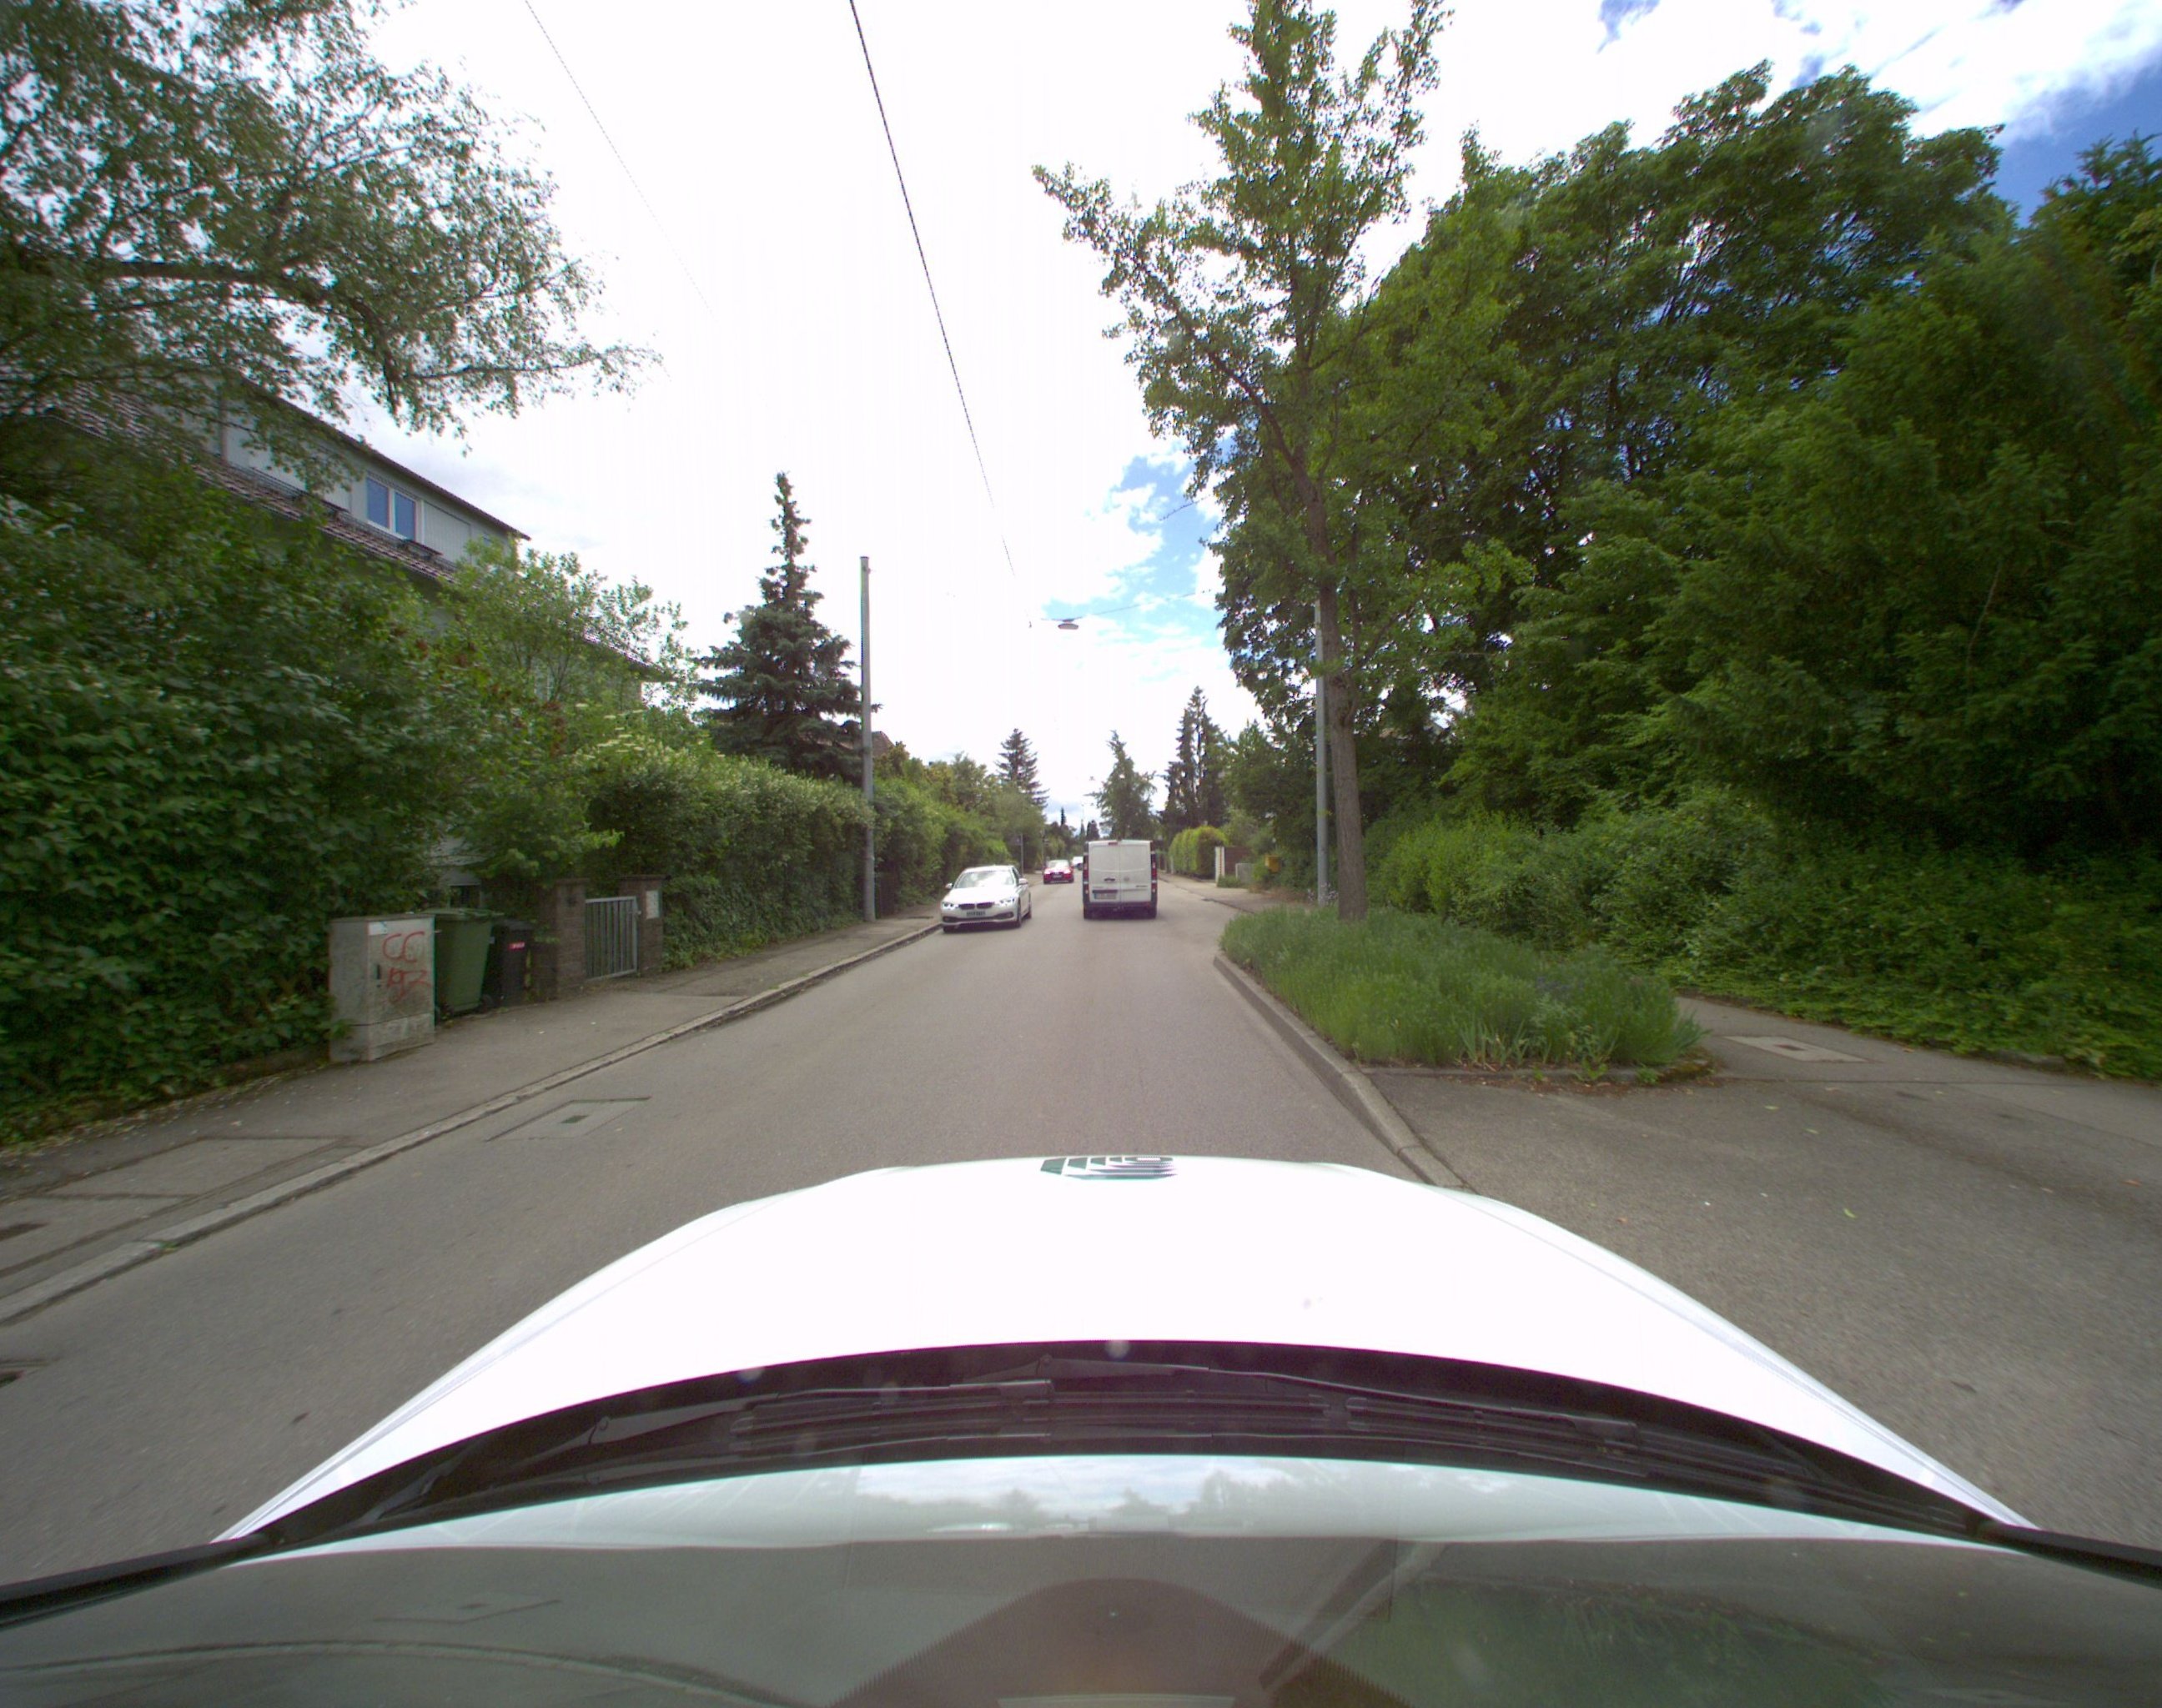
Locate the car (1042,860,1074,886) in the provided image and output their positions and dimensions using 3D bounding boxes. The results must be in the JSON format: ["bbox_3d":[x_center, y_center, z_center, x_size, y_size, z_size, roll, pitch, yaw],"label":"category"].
[{"bbox_3d":[-1.408,1.149,51.051,1.799,1.431,4.118,-4,-1,0],"label":"car"}]

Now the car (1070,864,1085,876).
[{"bbox_3d":[-0.475,2.034,104.706,1.849,1.451,4.280,-3,0,0],"label":"car"}]

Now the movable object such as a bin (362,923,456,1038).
[{"bbox_3d":[-6.057,1.122,7.357,0.377,0.951,0.512,2,-1,-2],"label":"movable object such as a bin"}]

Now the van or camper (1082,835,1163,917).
[{"bbox_3d":[1.016,0.604,21.853,1.933,1.954,4.764,0,-2,1],"label":"van or camper"}]

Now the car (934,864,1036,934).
[{"bbox_3d":[-2.226,1.012,19.982,1.799,1.431,4.302,-4,-1,1],"label":"car"}]

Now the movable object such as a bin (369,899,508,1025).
[{"bbox_3d":[-6.273,1.034,7.993,0.726,1.126,0.722,2,-1,-2],"label":"movable object such as a bin"}]

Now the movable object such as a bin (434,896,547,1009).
[{"bbox_3d":[-6.315,1.039,8.741,0.726,1.117,0.585,2,-1,-2],"label":"movable object such as a bin"}]
